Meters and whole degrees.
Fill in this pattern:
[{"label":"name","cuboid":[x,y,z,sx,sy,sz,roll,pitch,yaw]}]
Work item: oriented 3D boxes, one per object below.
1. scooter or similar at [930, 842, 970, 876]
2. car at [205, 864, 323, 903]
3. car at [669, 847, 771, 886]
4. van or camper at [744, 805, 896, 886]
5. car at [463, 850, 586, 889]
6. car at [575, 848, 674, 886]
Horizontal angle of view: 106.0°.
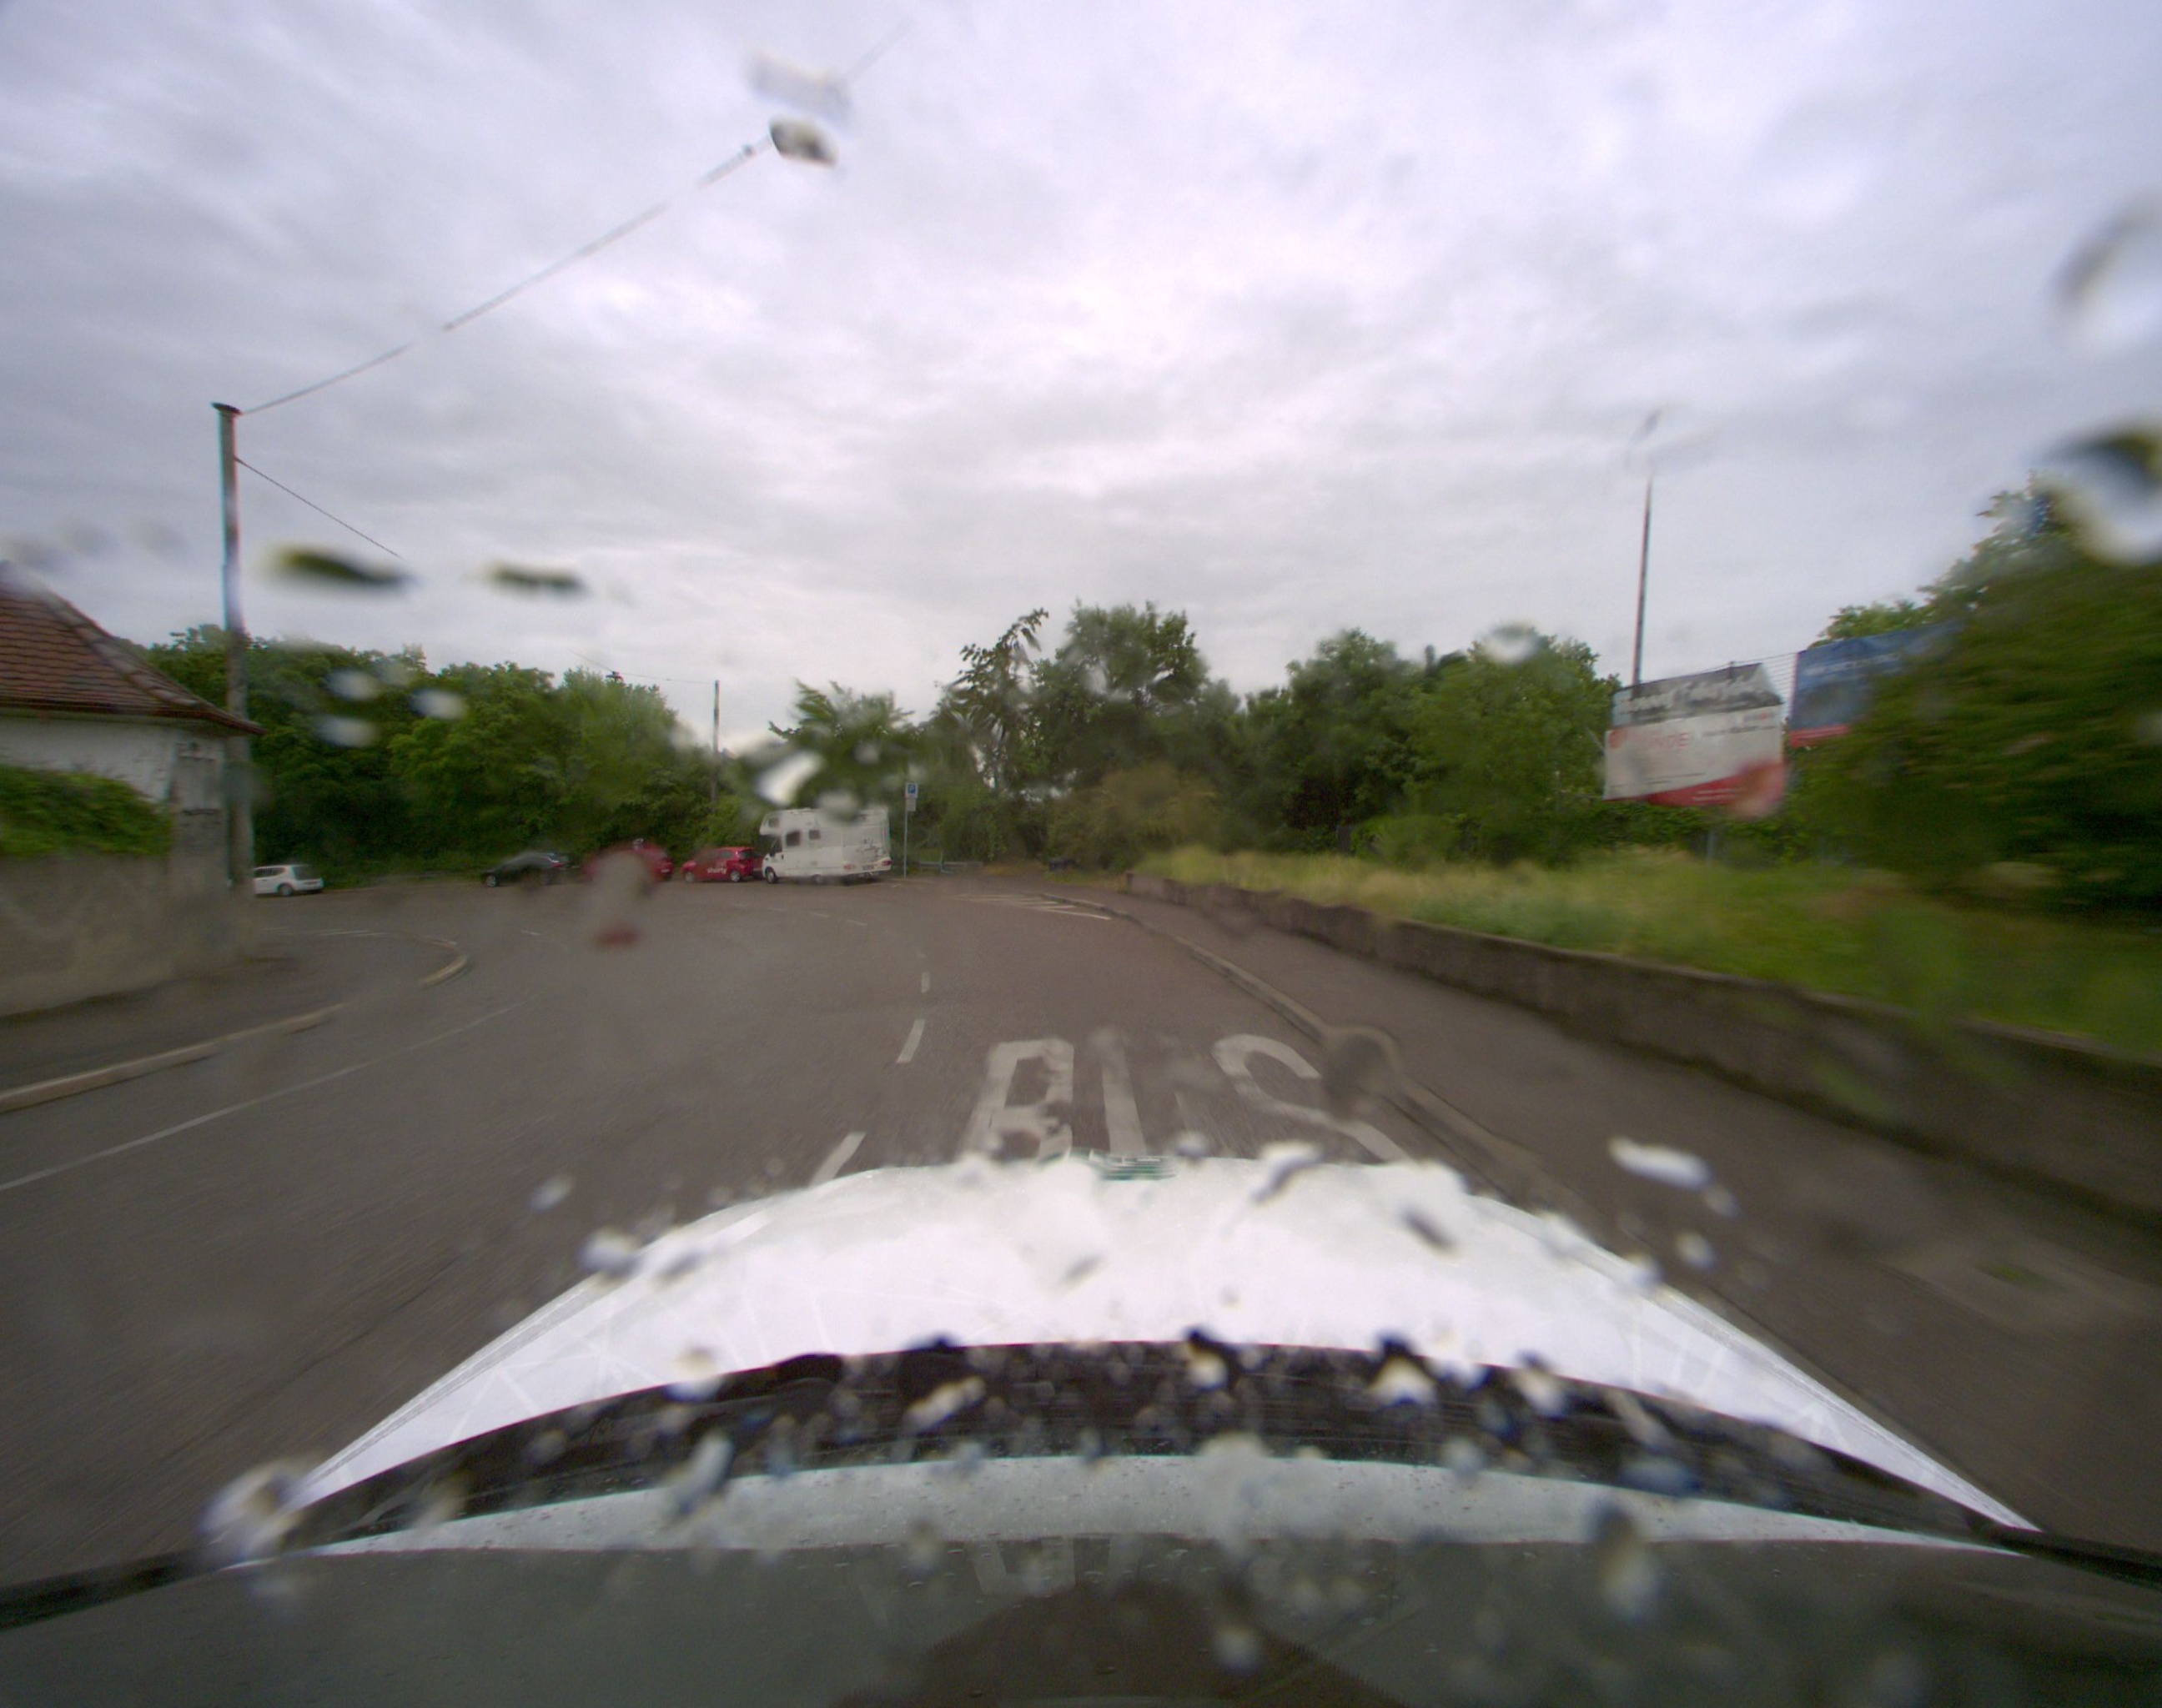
[{"label":"scooter or similar","cuboid":[-5.161,0.203,32.071,1.687,1.282,0.455,-2,1,36]},{"label":"car","cuboid":[-38.193,1.364,38.149,3.649,1.501,1.587,-3,1,-5]},{"label":"car","cuboid":[-15.725,0.528,35.503,3.765,1.460,1.654,-2,4,15]},{"label":"van or camper","cuboid":[-10.576,-0.356,32.807,6.200,2.943,2.414,0,4,35]},{"label":"car","cuboid":[-25.705,0.690,37.699,4.555,1.513,1.728,-2,4,7]},{"label":"car","cuboid":[-20.623,0.572,36.839,3.640,1.513,1.569,-1,4,10]}]
